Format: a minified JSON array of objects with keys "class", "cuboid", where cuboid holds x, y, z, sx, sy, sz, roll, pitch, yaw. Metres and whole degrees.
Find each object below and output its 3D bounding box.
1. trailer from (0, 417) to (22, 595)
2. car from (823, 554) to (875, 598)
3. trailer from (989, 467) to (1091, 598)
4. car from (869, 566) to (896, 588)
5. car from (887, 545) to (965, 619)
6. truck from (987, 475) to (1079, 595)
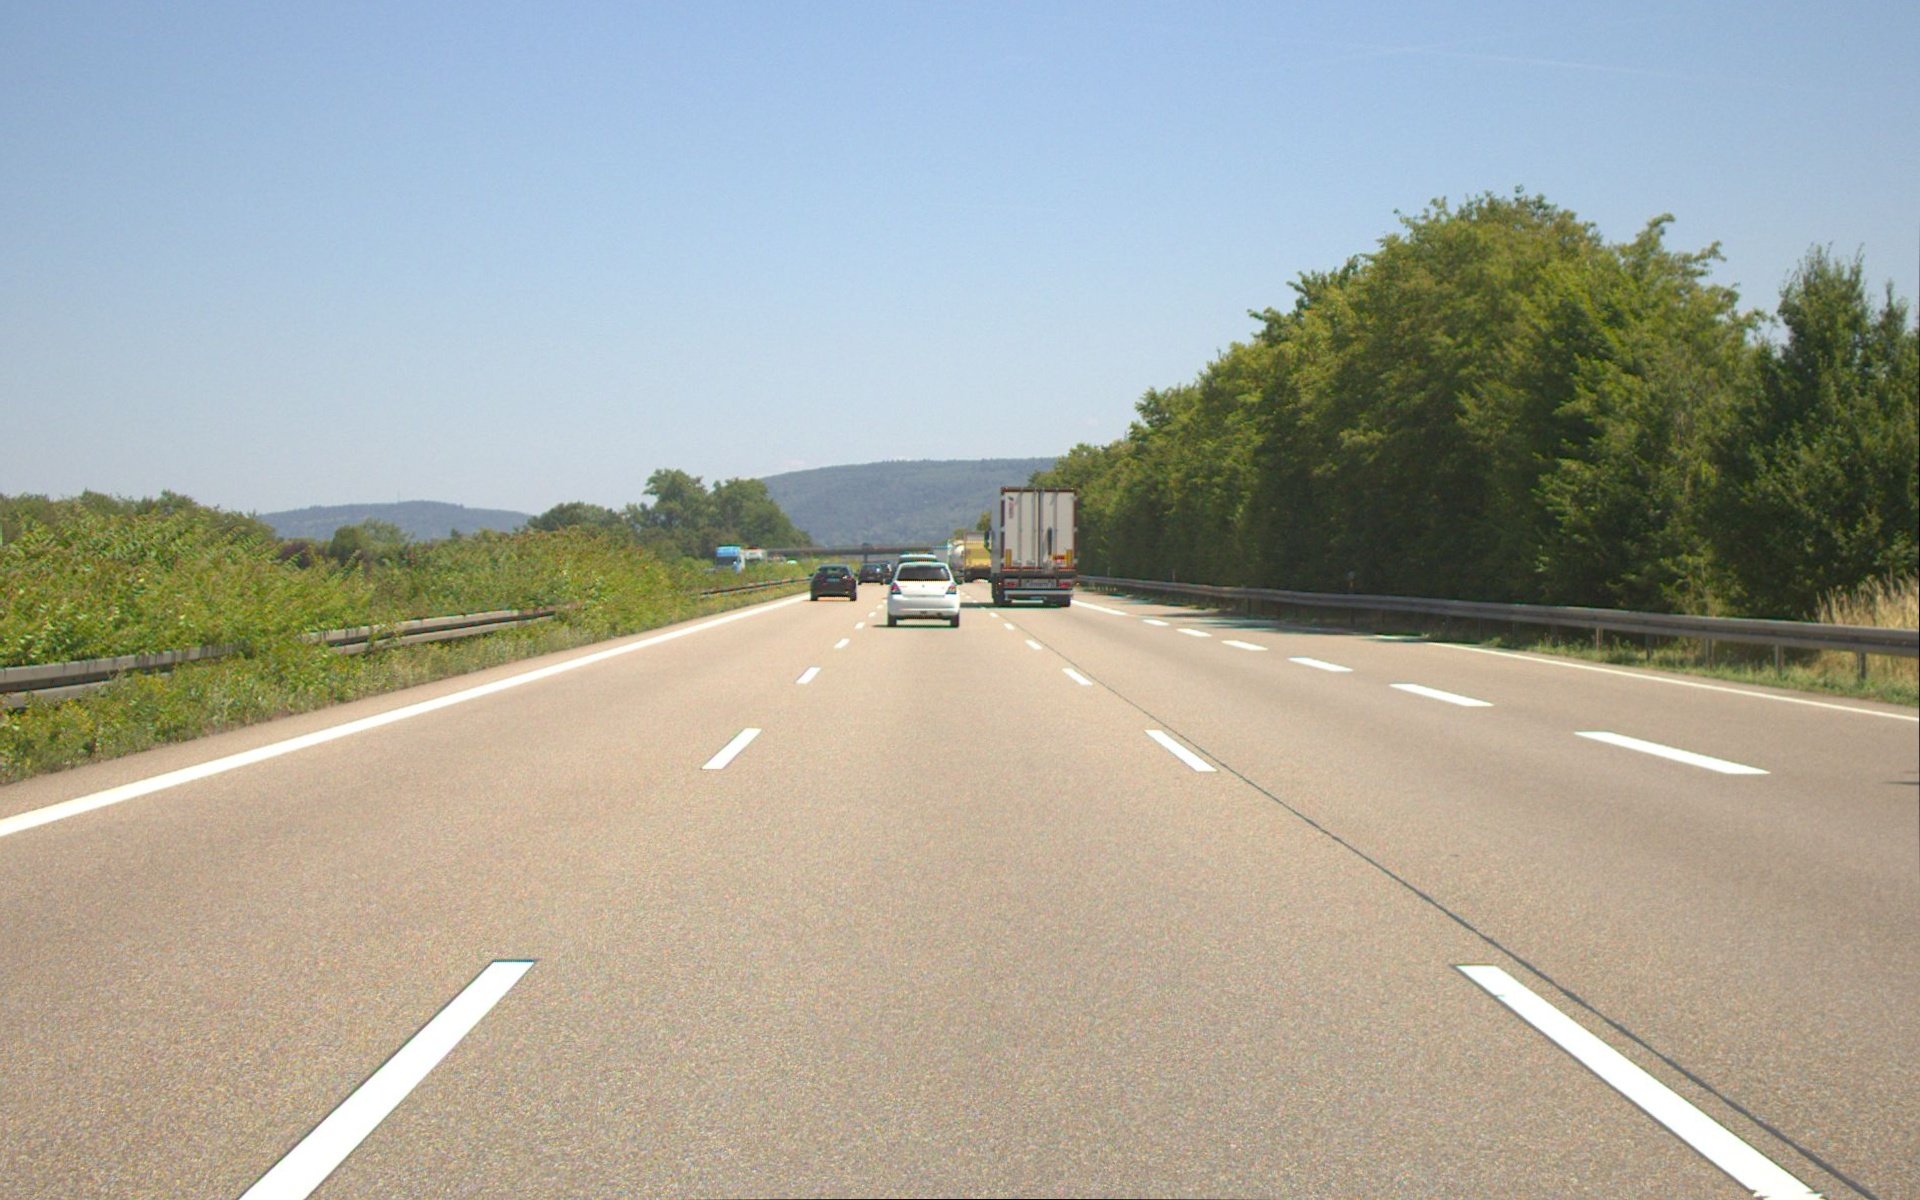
[{"class":"trailer","cuboid":[-21.371,-1.910,65.621,3.179,3.686,14.383,1,1,-1]},{"class":"car","cuboid":[-4.395,-0.955,136.074,1.993,1.706,4.000,1,1,-2]},{"class":"trailer","cuboid":[2.726,-2.344,122.200,3.218,4.330,13.629,1,1,0]},{"class":"car","cuboid":[-5.358,-1.593,238.512,1.795,1.545,4.000,0,0,-1]},{"class":"car","cuboid":[-0.827,-0.443,81.046,1.732,1.678,4.000,-1,1,-2]},{"class":"truck","cuboid":[2.705,-2.430,129.604,3.218,4.330,6.590,1,1,0]}]
